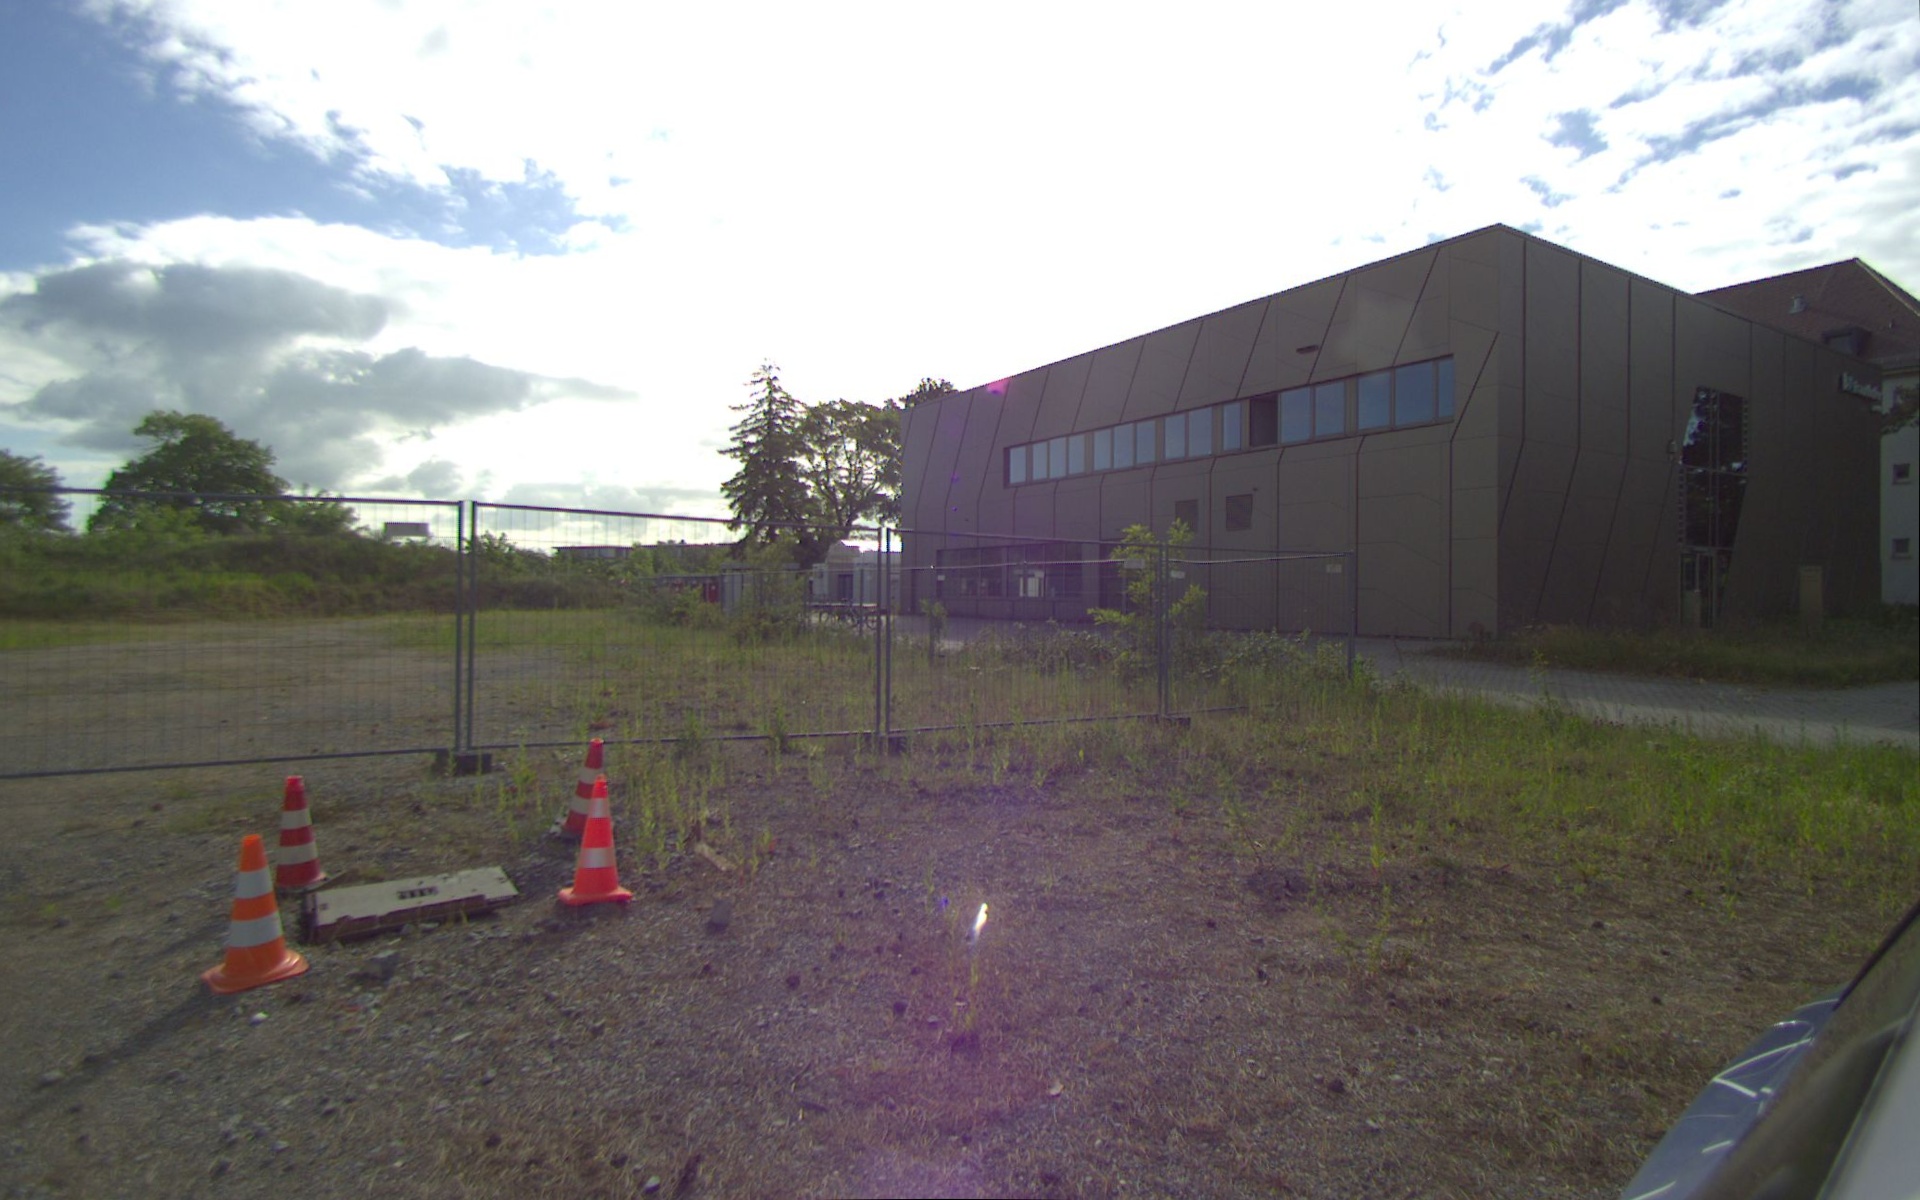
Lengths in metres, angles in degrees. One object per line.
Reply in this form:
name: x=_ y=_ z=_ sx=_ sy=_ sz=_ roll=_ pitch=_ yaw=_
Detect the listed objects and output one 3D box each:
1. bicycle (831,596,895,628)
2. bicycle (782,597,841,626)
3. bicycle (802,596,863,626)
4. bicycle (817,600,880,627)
bicycle: x=-3.378 y=0.404 z=35.302 sx=2.030 sy=1.101 sz=0.946 roll=0 pitch=0 yaw=-34
bicycle: x=-5.724 y=0.422 z=39.021 sx=2.030 sy=1.057 sz=0.946 roll=0 pitch=0 yaw=-34
bicycle: x=-4.671 y=0.402 z=37.158 sx=2.030 sy=1.057 sz=0.946 roll=0 pitch=0 yaw=-34
bicycle: x=-4.001 y=0.475 z=36.391 sx=2.030 sy=0.933 sz=0.946 roll=-1 pitch=0 yaw=-34
